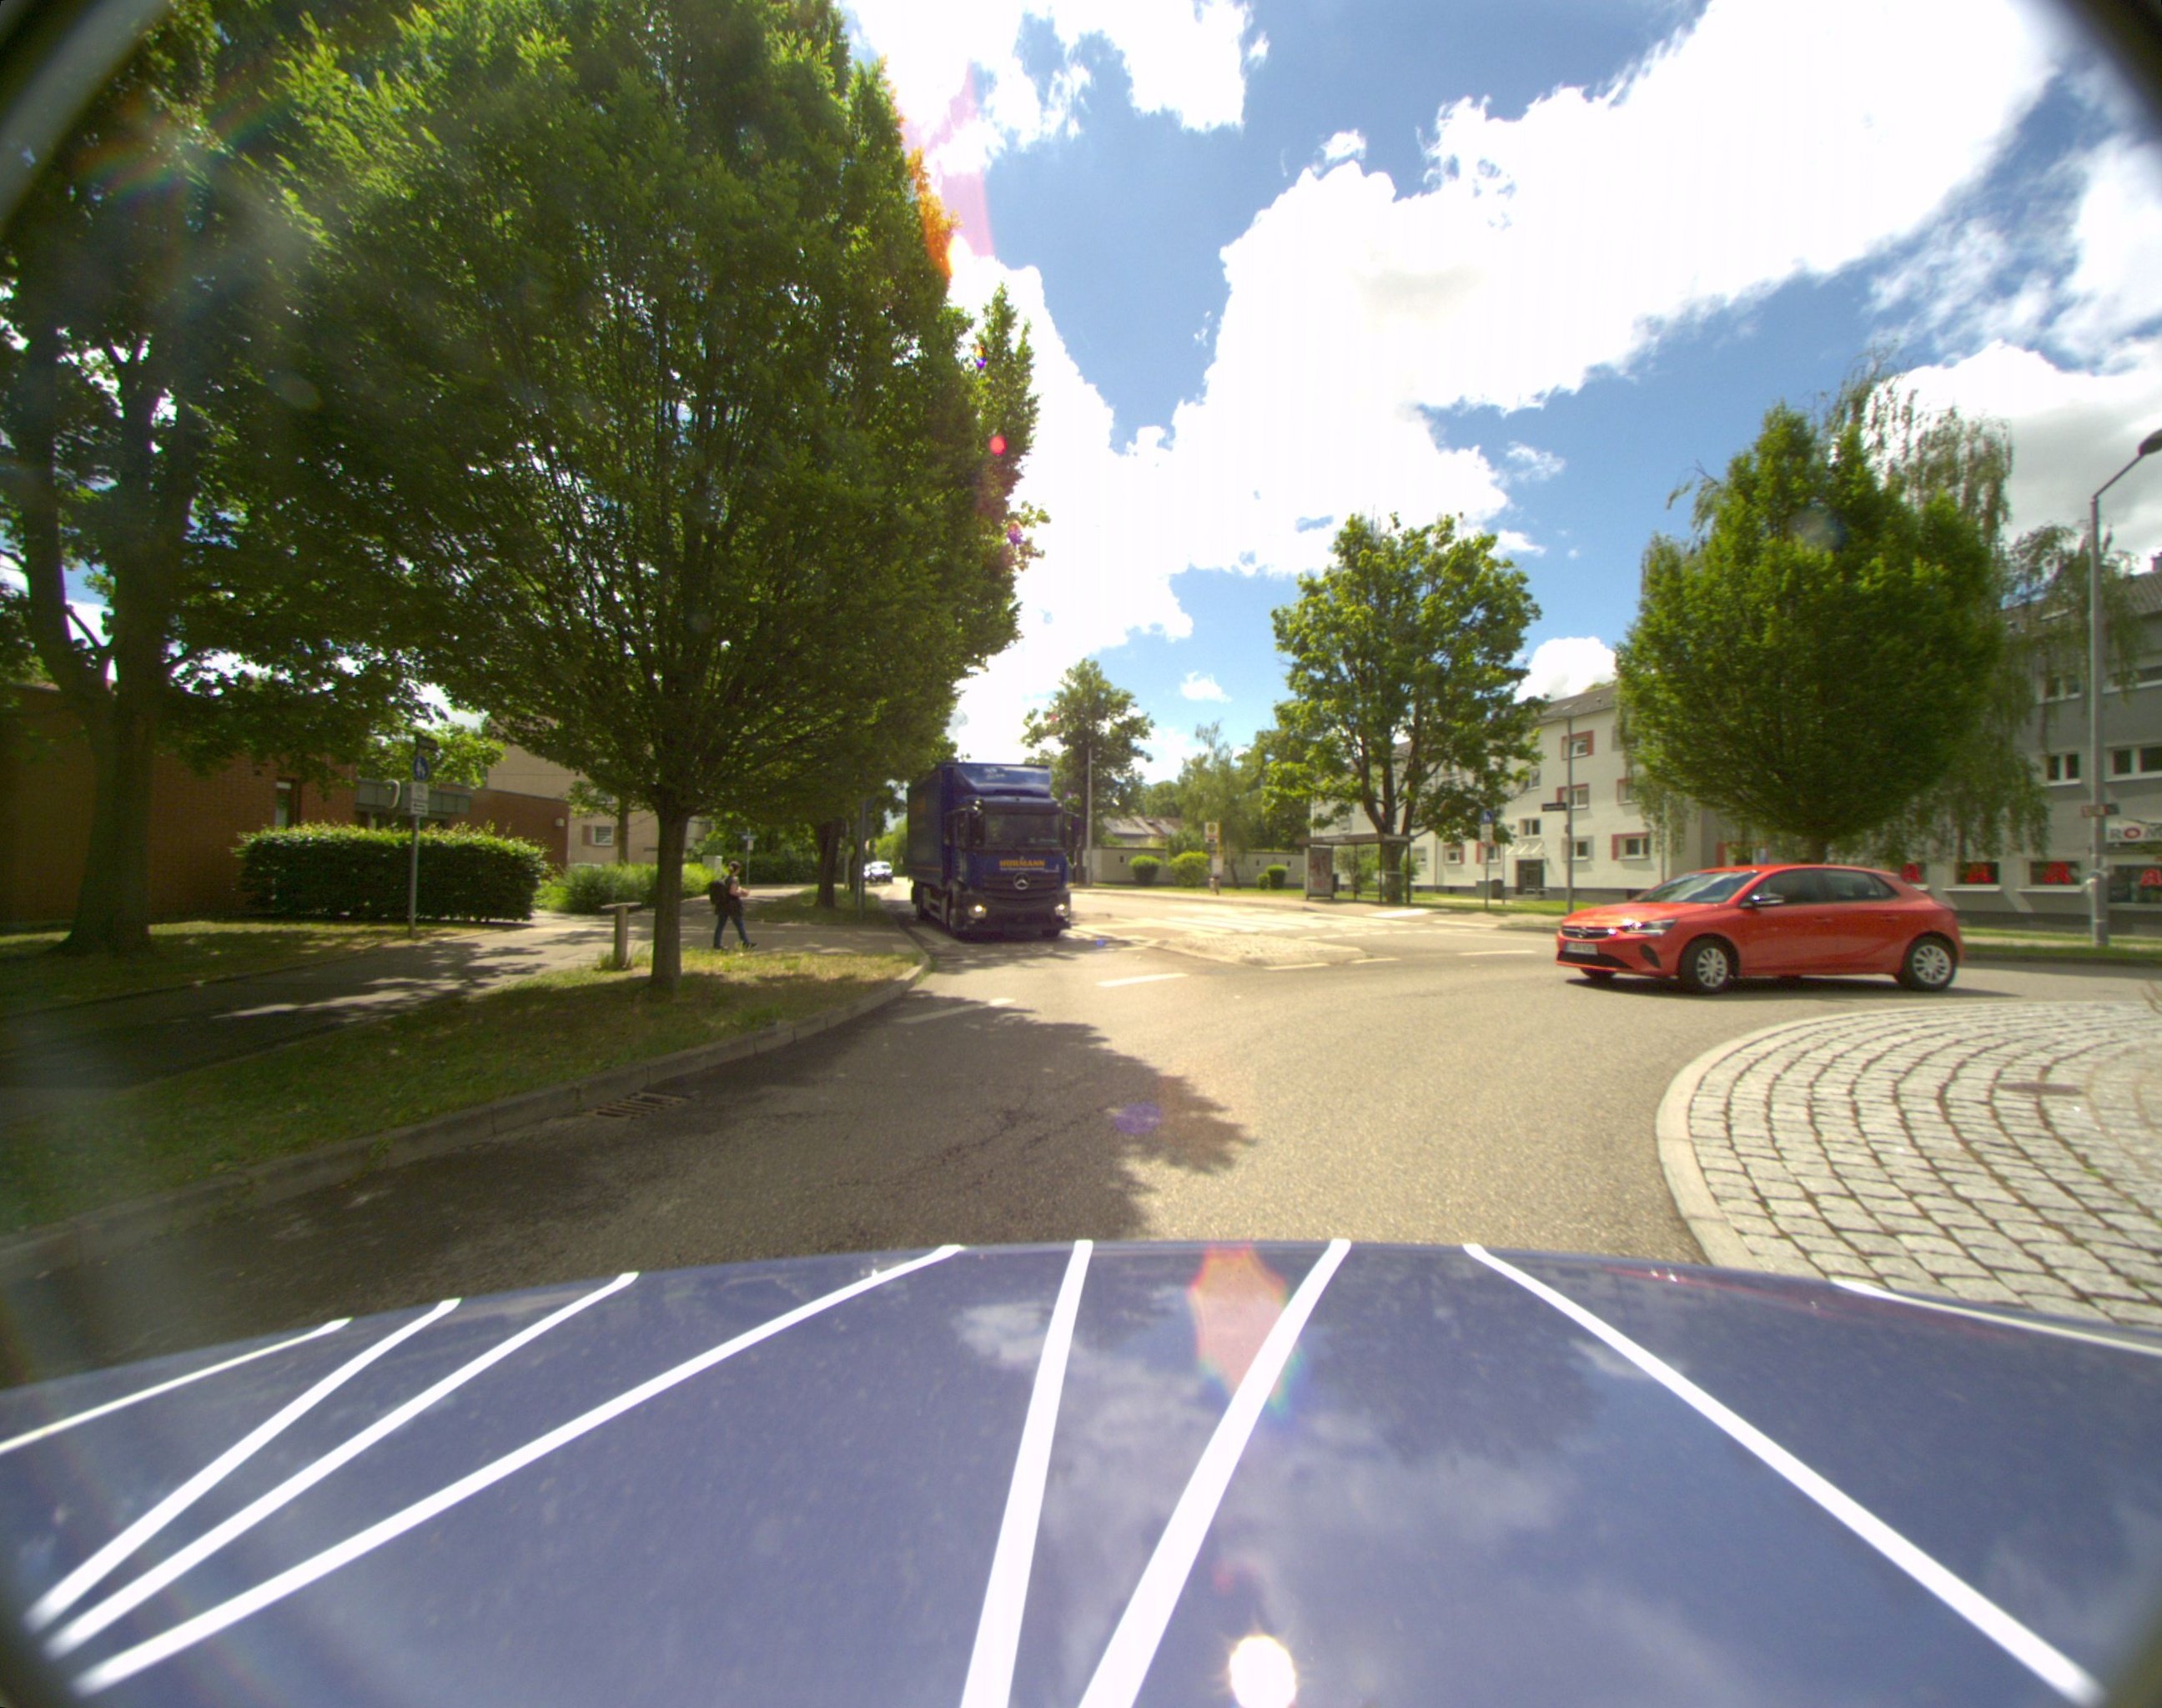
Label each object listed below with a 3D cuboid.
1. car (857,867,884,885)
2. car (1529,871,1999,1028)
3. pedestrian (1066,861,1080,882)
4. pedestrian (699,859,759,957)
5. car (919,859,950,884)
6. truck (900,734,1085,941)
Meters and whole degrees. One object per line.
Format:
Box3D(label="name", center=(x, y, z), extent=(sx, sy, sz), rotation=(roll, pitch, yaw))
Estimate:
Box3D(label="car", center=(-19.748, 2.059, 71.183), extent=(2.002, 1.543, 3.994), rotation=(2, -3, -20))
Box3D(label="car", center=(7.845, 1.090, 9.039), extent=(3.997, 1.547, 1.768), rotation=(2, -4, -1))
Box3D(label="pedestrian", center=(-0.638, 1.371, 59.327), extent=(0.904, 1.572, 0.660), rotation=(1, 0, -12))
Box3D(label="pedestrian", center=(-5.916, 0.889, 12.801), extent=(0.721, 1.570, 0.840), rotation=(1, 2, -10))
Box3D(label="car", center=(-10.452, 1.280, 53.939), extent=(2.001, 1.665, 3.997), rotation=(2, -3, -13))
Box3D(label="truck", center=(-2.848, -0.177, 20.232), extent=(2.792, 4.127, 9.783), rotation=(1, -2, -19))
